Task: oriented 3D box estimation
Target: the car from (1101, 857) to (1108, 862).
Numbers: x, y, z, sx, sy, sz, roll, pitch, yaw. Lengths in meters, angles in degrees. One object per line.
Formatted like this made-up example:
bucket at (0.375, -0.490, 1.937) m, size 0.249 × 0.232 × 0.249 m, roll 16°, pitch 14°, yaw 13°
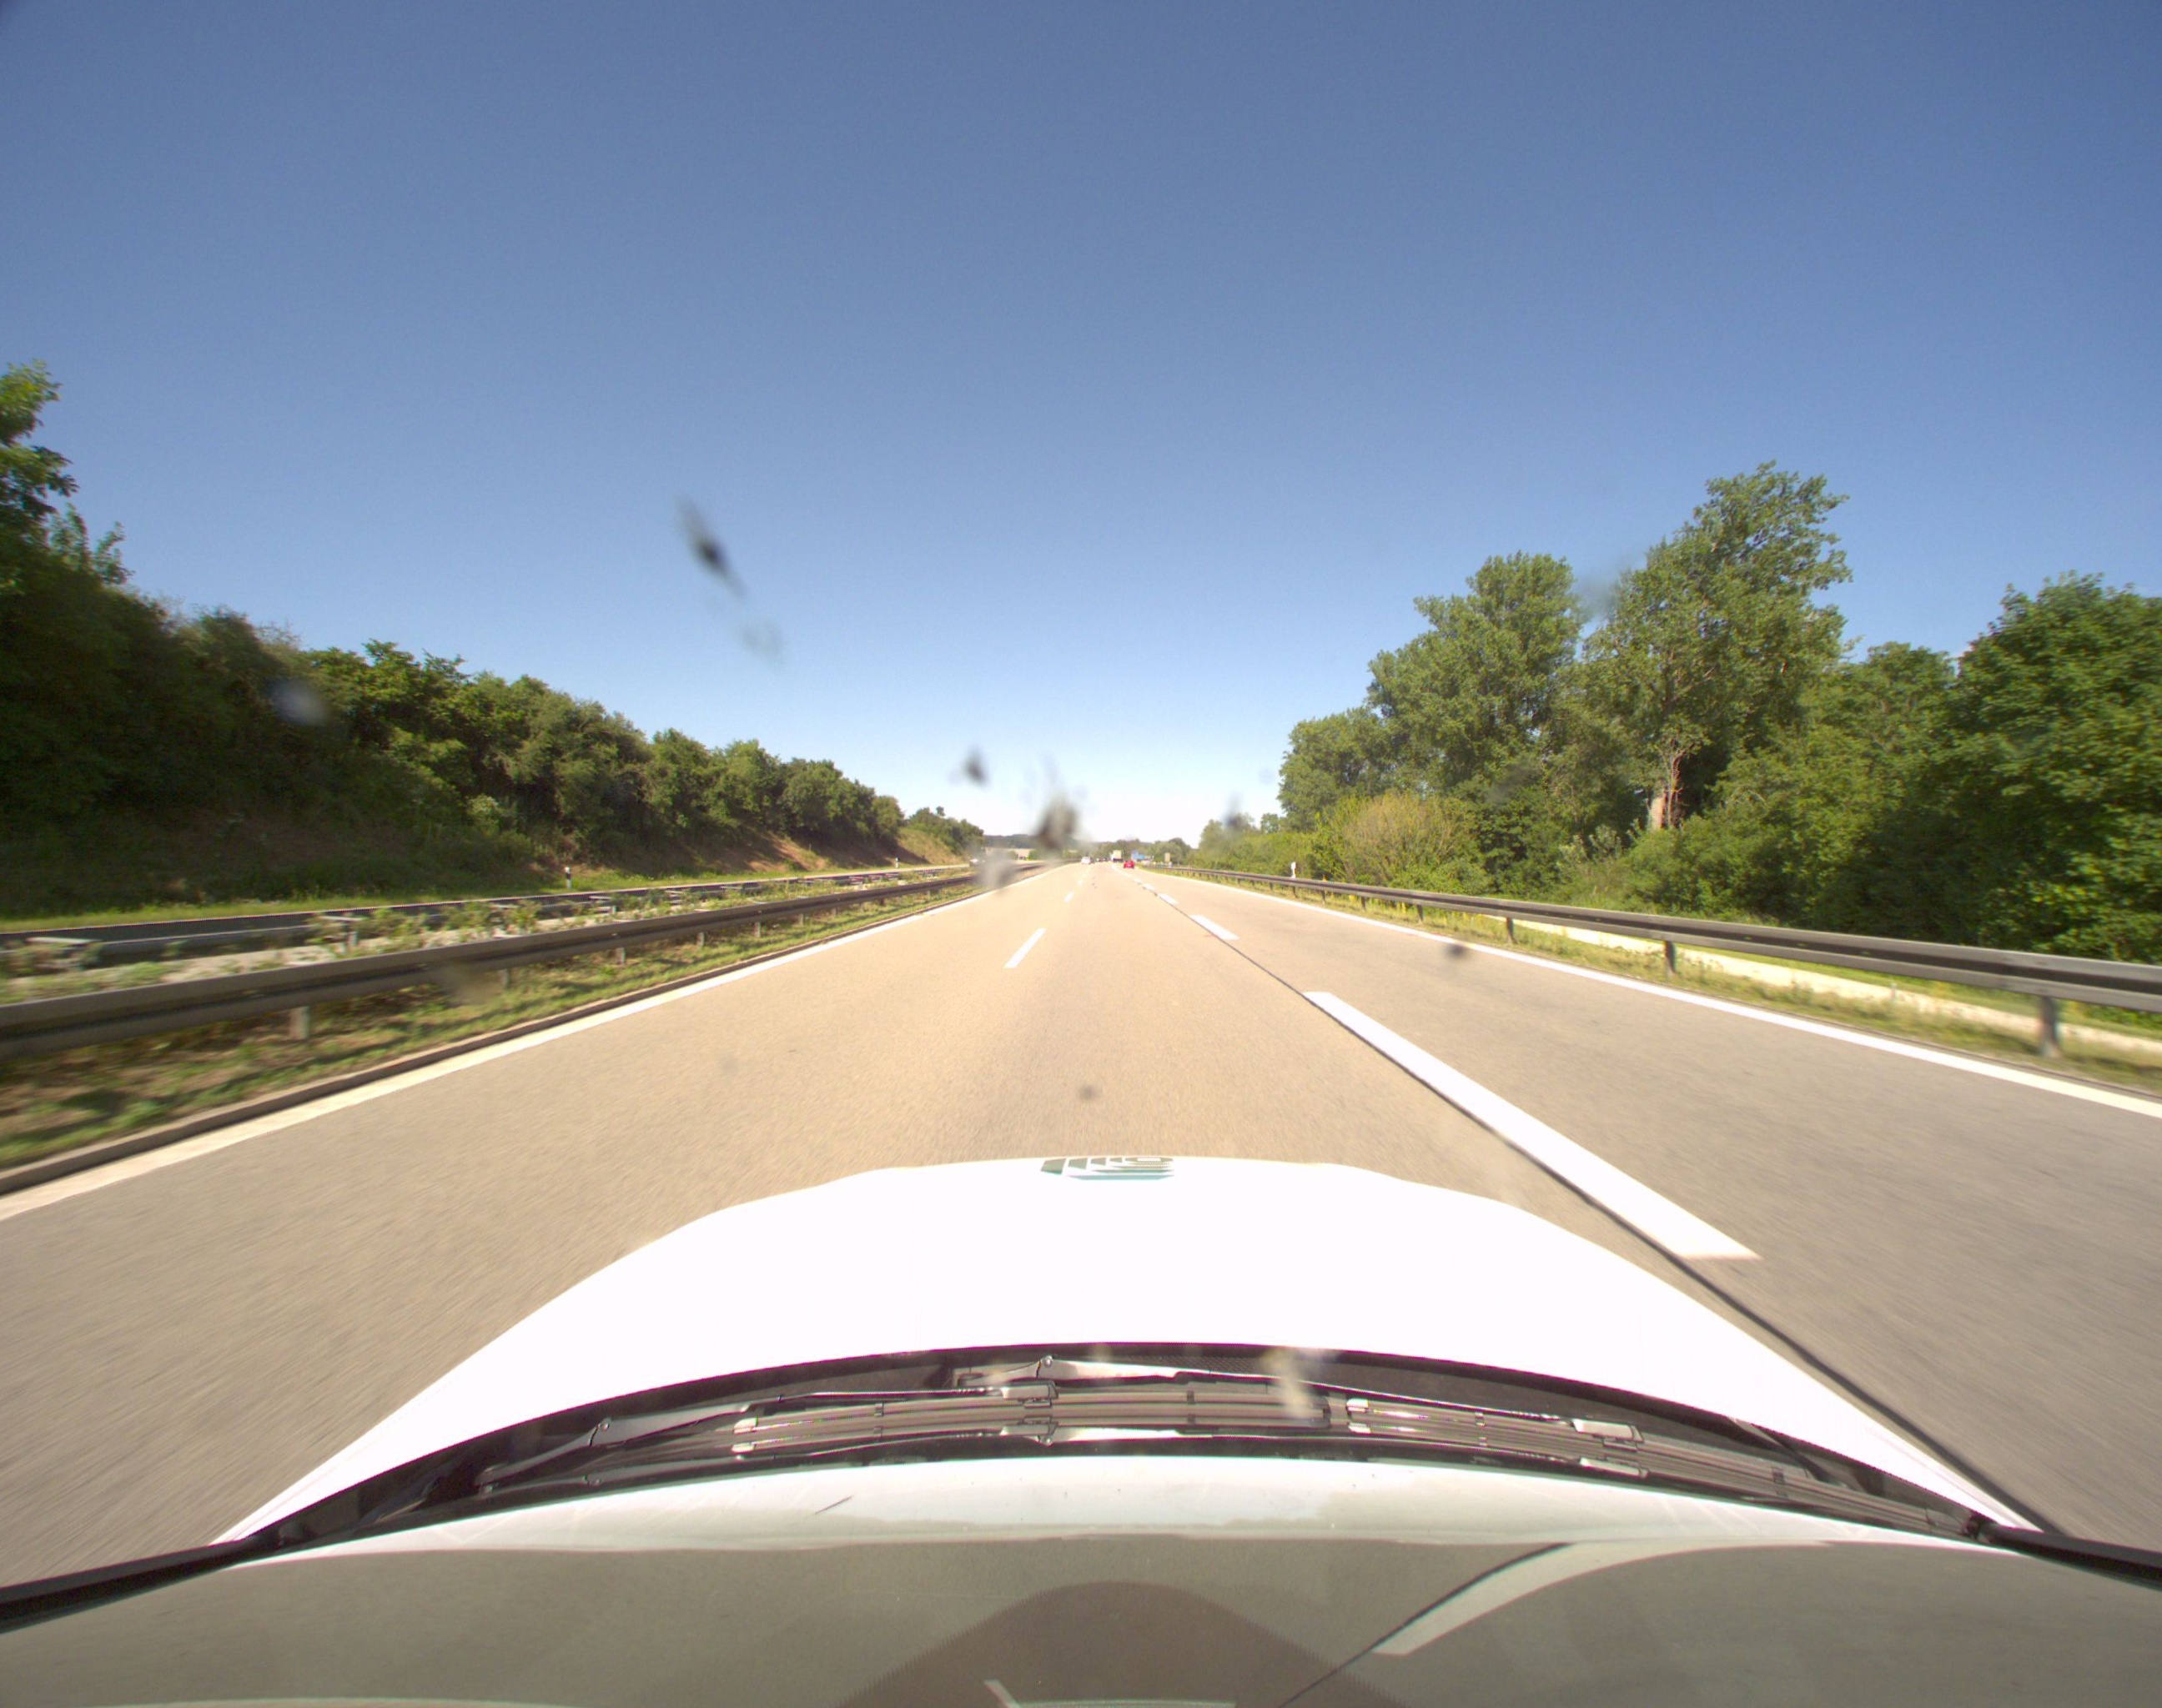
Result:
car at (7.468, 1.732, 258.645) m, size 1.985 × 1.750 × 4.004 m, roll 1°, pitch 0°, yaw 4°

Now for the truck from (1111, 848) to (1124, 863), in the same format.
truck at (11.542, 0.444, 255.964) m, size 3.821 × 4.397 × 11.482 m, roll 0°, pitch 0°, yaw 4°

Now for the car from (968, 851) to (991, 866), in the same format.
car at (-11.737, 0.530, 94.486) m, size 1.986 × 1.644 × 5.084 m, roll 0°, pitch -1°, yaw 1°

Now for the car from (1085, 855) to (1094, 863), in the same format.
car at (2.046, 1.120, 186.864) m, size 1.986 × 1.750 × 4.001 m, roll 1°, pitch 0°, yaw 1°

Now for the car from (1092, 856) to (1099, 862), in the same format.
car at (4.157, 1.363, 229.272) m, size 1.986 × 1.750 × 4.001 m, roll 1°, pitch 0°, yaw 1°

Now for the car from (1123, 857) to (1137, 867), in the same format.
car at (8.041, 1.360, 133.924) m, size 1.774 × 1.431 × 4.009 m, roll 4°, pitch -1°, yaw 9°

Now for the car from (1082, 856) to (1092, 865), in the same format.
car at (1.268, 1.342, 168.641) m, size 2.054 × 1.625 × 4.000 m, roll 0°, pitch -3°, yaw 1°
